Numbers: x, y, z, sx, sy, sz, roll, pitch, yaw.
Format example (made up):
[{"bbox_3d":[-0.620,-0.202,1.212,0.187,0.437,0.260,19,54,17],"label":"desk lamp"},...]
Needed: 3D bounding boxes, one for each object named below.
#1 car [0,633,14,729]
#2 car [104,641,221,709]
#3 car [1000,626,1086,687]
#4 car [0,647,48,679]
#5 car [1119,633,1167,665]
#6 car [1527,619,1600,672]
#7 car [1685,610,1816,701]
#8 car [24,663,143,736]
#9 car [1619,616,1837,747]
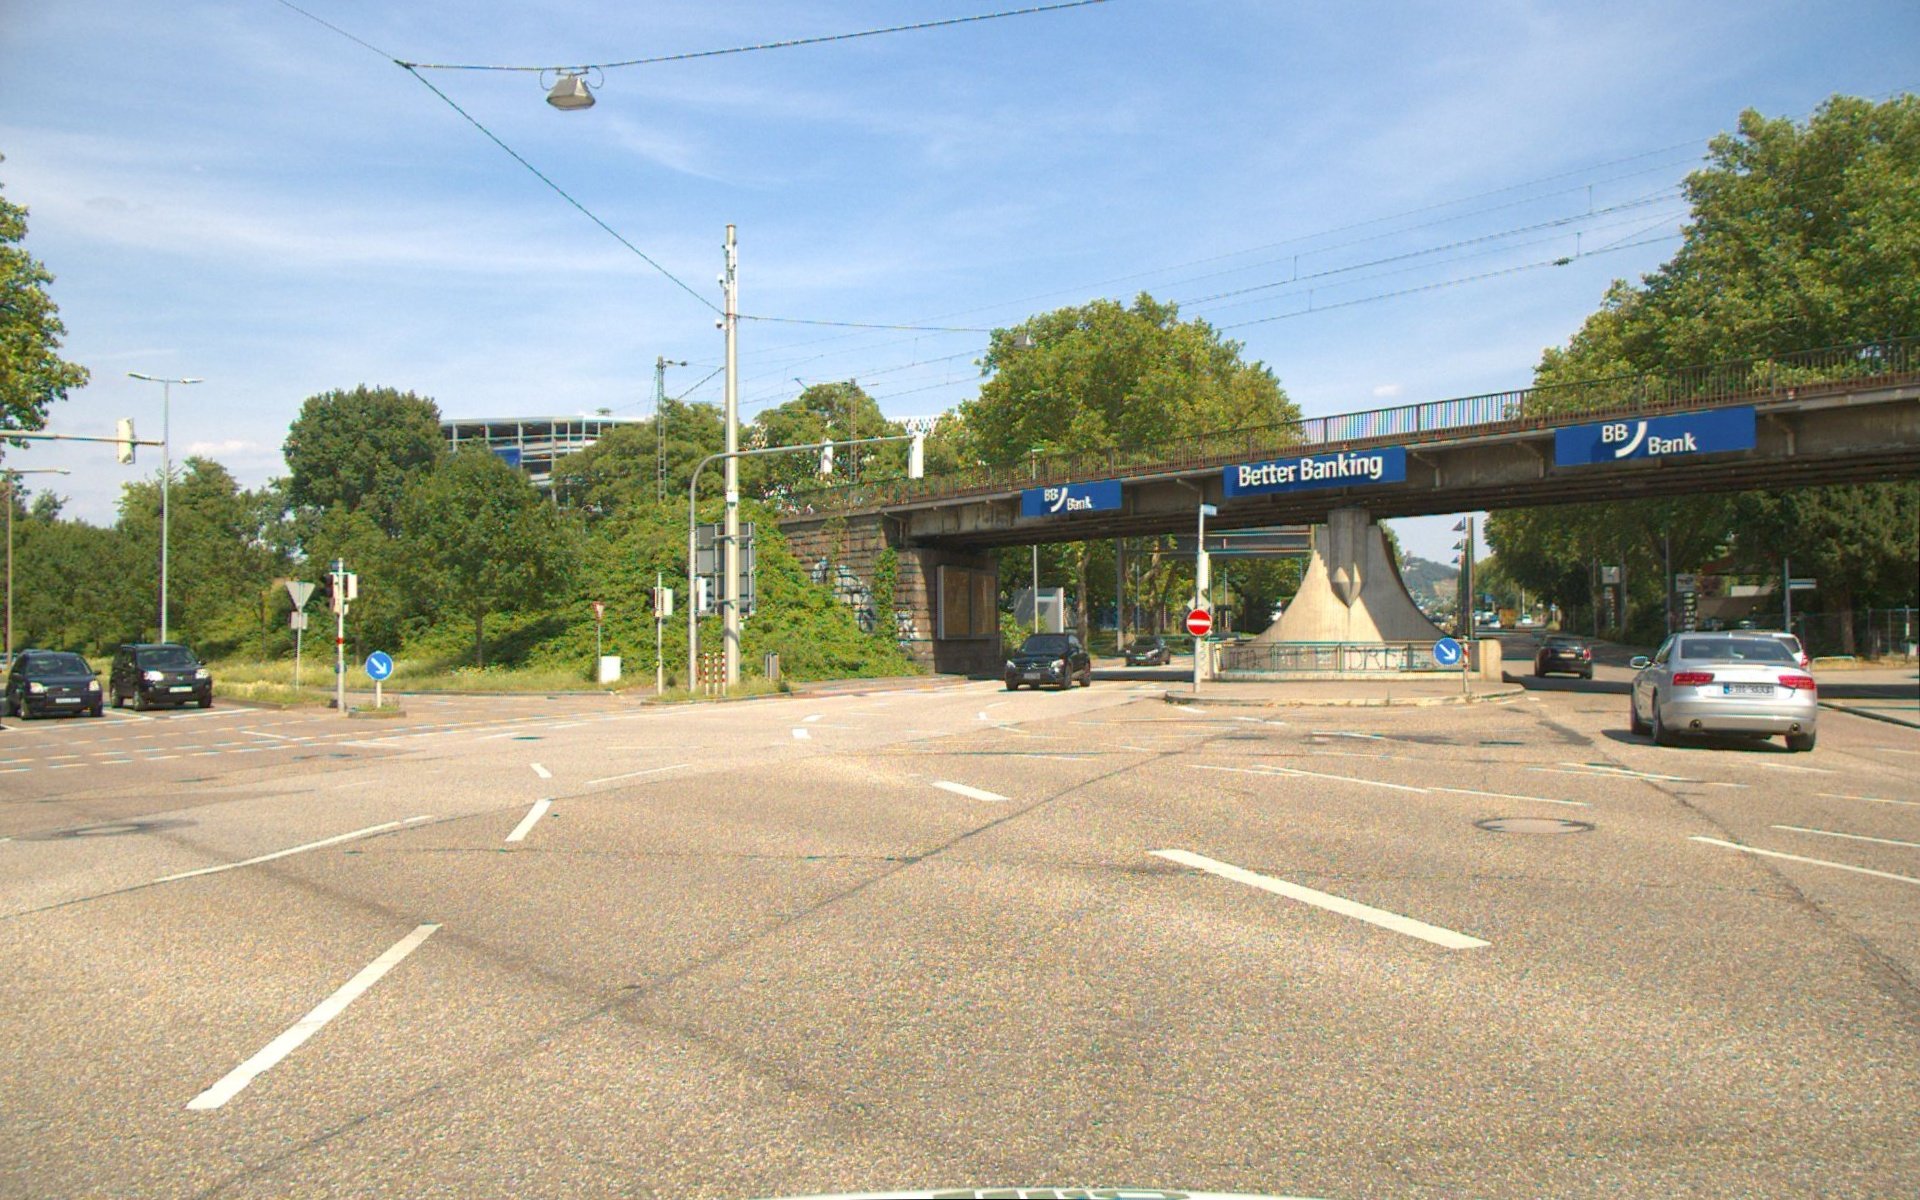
[{"bbox_3d":[-21.662,1.680,35.220,1.925,1.953,5.156,0,-1,-38],"label":"car"},{"bbox_3d":[-20.877,1.935,43.206,1.796,1.644,4.427,0,-1,-39],"label":"car"},{"bbox_3d":[2.514,1.642,48.996,1.951,1.624,4.449,-1,0,10],"label":"car"},{"bbox_3d":[-50.558,3.369,89.305,1.724,1.563,3.946,1,0,-37],"label":"car"},{"bbox_3d":[9.223,2.451,83.004,1.783,1.533,4.218,-1,-2,15],"label":"car"},{"bbox_3d":[20.040,1.482,55.038,1.897,1.629,4.003,1,0,15],"label":"car"},{"bbox_3d":[16.575,1.139,34.870,1.870,1.800,4.002,-1,-1,17],"label":"car"},{"bbox_3d":[-19.897,2.213,37.486,1.749,1.501,3.903,0,-2,-38],"label":"car"},{"bbox_3d":[10.152,0.998,22.201,1.951,1.534,4.486,1,0,16],"label":"car"}]
